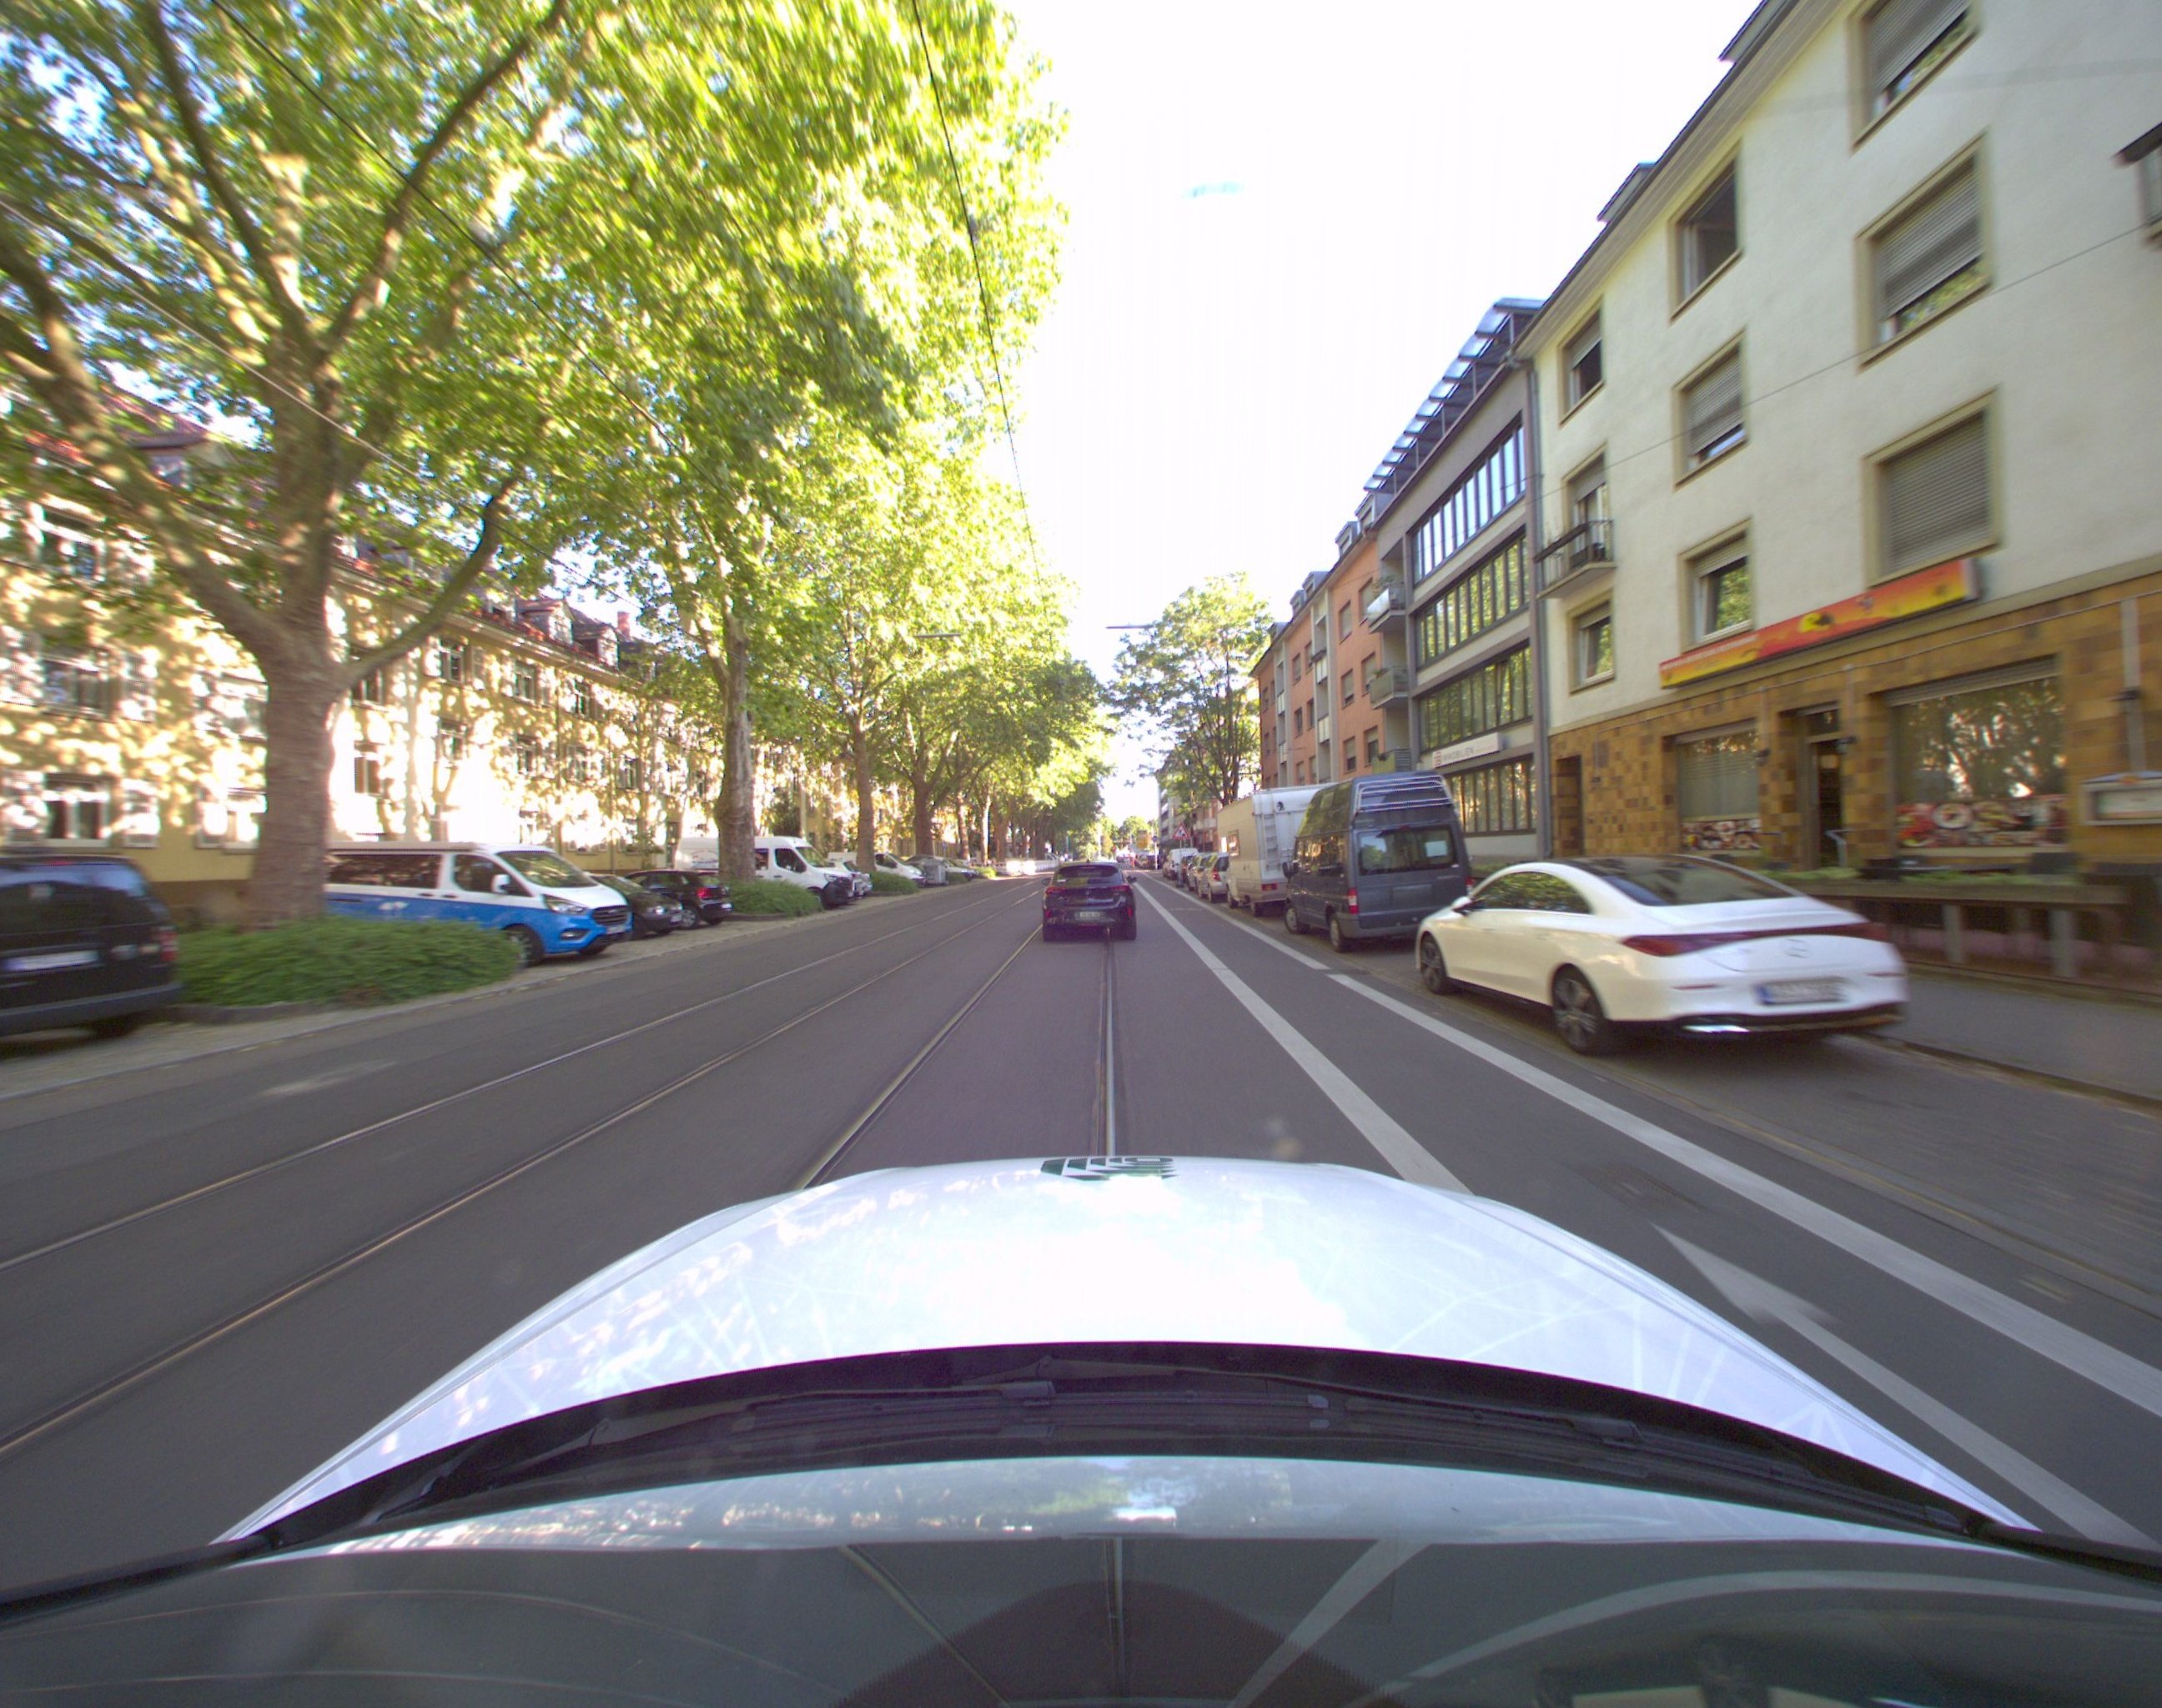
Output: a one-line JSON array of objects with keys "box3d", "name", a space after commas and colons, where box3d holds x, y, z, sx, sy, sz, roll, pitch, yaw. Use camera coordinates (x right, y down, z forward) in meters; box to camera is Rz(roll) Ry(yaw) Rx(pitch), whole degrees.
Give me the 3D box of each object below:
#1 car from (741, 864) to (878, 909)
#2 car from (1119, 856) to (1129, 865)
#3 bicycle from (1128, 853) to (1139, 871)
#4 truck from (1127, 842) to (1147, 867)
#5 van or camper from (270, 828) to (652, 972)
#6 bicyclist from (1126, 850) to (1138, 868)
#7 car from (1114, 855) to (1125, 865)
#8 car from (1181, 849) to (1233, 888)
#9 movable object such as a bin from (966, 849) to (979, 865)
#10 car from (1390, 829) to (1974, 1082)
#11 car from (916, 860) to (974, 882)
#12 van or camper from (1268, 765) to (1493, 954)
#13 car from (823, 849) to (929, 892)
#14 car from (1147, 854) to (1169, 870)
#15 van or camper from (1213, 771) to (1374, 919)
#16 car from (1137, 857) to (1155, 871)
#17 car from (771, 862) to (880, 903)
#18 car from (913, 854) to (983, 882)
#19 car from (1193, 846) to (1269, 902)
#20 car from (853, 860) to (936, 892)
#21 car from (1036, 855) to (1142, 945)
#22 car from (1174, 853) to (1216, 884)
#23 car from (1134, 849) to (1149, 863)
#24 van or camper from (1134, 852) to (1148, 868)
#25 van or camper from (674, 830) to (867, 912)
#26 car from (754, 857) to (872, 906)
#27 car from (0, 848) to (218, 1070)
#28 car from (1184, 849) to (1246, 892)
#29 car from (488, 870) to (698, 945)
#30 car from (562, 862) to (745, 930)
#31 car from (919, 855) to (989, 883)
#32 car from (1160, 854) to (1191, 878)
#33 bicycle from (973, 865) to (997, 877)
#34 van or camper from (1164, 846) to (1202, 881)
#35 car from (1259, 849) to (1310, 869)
[{"box3d": [-9.664, 1.143, 29.185, 4.248, 1.399, 1.754, -2, 0, 2], "name": "car"}, {"box3d": [9.510, 1.392, 178.543, 1.986, 1.695, 4.741, -4, 0, 1], "name": "car"}, {"box3d": [4.742, 0.743, 74.265, 0.912, 1.561, 3.407, -1, 0, 3], "name": "bicycle"}, {"box3d": [8.140, 0.143, 119.778, 2.528, 3.338, 7.199, -4, -1, 2], "name": "truck"}, {"box3d": [-10.359, 0.717, 13.958, 4.807, 2.190, 2.118, -1, 0, -2], "name": "van or camper"}, {"box3d": [4.636, 0.447, 74.260, 1.085, 1.647, 1.401, -1, 0, 2], "name": "bicyclist"}, {"box3d": [7.749, 1.196, 164.338, 1.986, 1.695, 4.741, -4, 0, 1], "name": "car"}, {"box3d": [5.738, 0.649, 37.647, 1.761, 1.572, 4.338, -4, 0, 1], "name": "car"}, {"box3d": [-13.477, 0.366, 101.238, 1.328, 1.869, 2.008, -1, -1, 2], "name": "movable object such as a bin"}, {"box3d": [4.715, 0.653, 7.553, 1.986, 1.493, 4.742, -4, 0, 2], "name": "car"}, {"box3d": [-9.887, 1.228, 59.536, 3.832, 1.498, 1.863, -2, 0, 2], "name": "car"}, {"box3d": [4.969, 0.088, 14.458, 2.124, 2.663, 4.981, -4, 0, 1], "name": "van or camper"}, {"box3d": [-9.985, 0.789, 39.917, 4.644, 1.945, 1.960, -1, 0, -2], "name": "car"}, {"box3d": [7.375, 0.744, 78.107, 1.727, 1.462, 3.917, -4, 0, 1], "name": "car"}, {"box3d": [5.087, -0.186, 20.695, 2.453, 3.064, 6.270, -4, 0, 1], "name": "van or camper"}, {"box3d": [7.331, 1.129, 92.020, 1.653, 1.399, 4.741, -4, 0, 2], "name": "car"}, {"box3d": [-10.523, 1.145, 33.691, 3.832, 1.498, 1.863, -2, 0, 2], "name": "car"}, {"box3d": [-8.631, 0.899, 53.099, 4.181, 1.757, 1.741, -1, 0, 3], "name": "car"}, {"box3d": [4.916, 0.618, 27.236, 1.786, 1.628, 4.278, -4, 0, 1], "name": "car"}, {"box3d": [-9.770, 1.130, 42.794, 3.832, 1.498, 1.863, -2, 0, 2], "name": "car"}, {"box3d": [0.194, 0.783, 15.768, 1.775, 1.496, 4.001, -1, 0, 1], "name": "car"}, {"box3d": [5.946, 0.714, 42.725, 1.699, 1.473, 4.169, -2, 0, 2], "name": "car"}, {"box3d": [7.269, 0.268, 97.583, 1.653, 1.580, 3.591, -3, 0, 2], "name": "car"}, {"box3d": [7.548, 0.707, 102.747, 1.662, 1.883, 4.213, -3, 0, 2], "name": "van or camper"}, {"box3d": [-10.146, 0.541, 26.962, 5.366, 2.516, 2.447, -1, 0, 3], "name": "van or camper"}, {"box3d": [-10.260, 1.029, 31.351, 3.832, 1.663, 1.863, -2, 0, 2], "name": "car"}, {"box3d": [-10.659, 0.891, 7.461, 3.669, 1.815, 1.705, -1, 0, 1], "name": "car"}, {"box3d": [5.254, 0.625, 32.497, 1.781, 1.522, 4.323, -4, 0, 1], "name": "car"}, {"box3d": [-10.549, 1.125, 17.824, 3.524, 1.459, 1.693, -1, 0, -5], "name": "car"}, {"box3d": [-10.543, 1.009, 20.221, 3.665, 1.565, 1.615, -1, 0, 4], "name": "car"}, {"box3d": [-8.595, 1.008, 55.321, 4.210, 1.688, 1.938, -2, 0, 8], "name": "car"}, {"box3d": [6.240, 0.794, 54.028, 1.699, 1.473, 4.001, -2, 0, 2], "name": "car"}, {"box3d": [-8.132, 1.440, 68.998, 1.964, 0.963, 0.726, -2, 0, 2], "name": "bicycle"}, {"box3d": [5.985, 0.540, 48.382, 1.748, 1.864, 4.832, -2, 0, 2], "name": "van or camper"}, {"box3d": [17.326, 0.424, 69.385, 3.900, 1.482, 1.562, -1, 2, 0], "name": "car"}]
